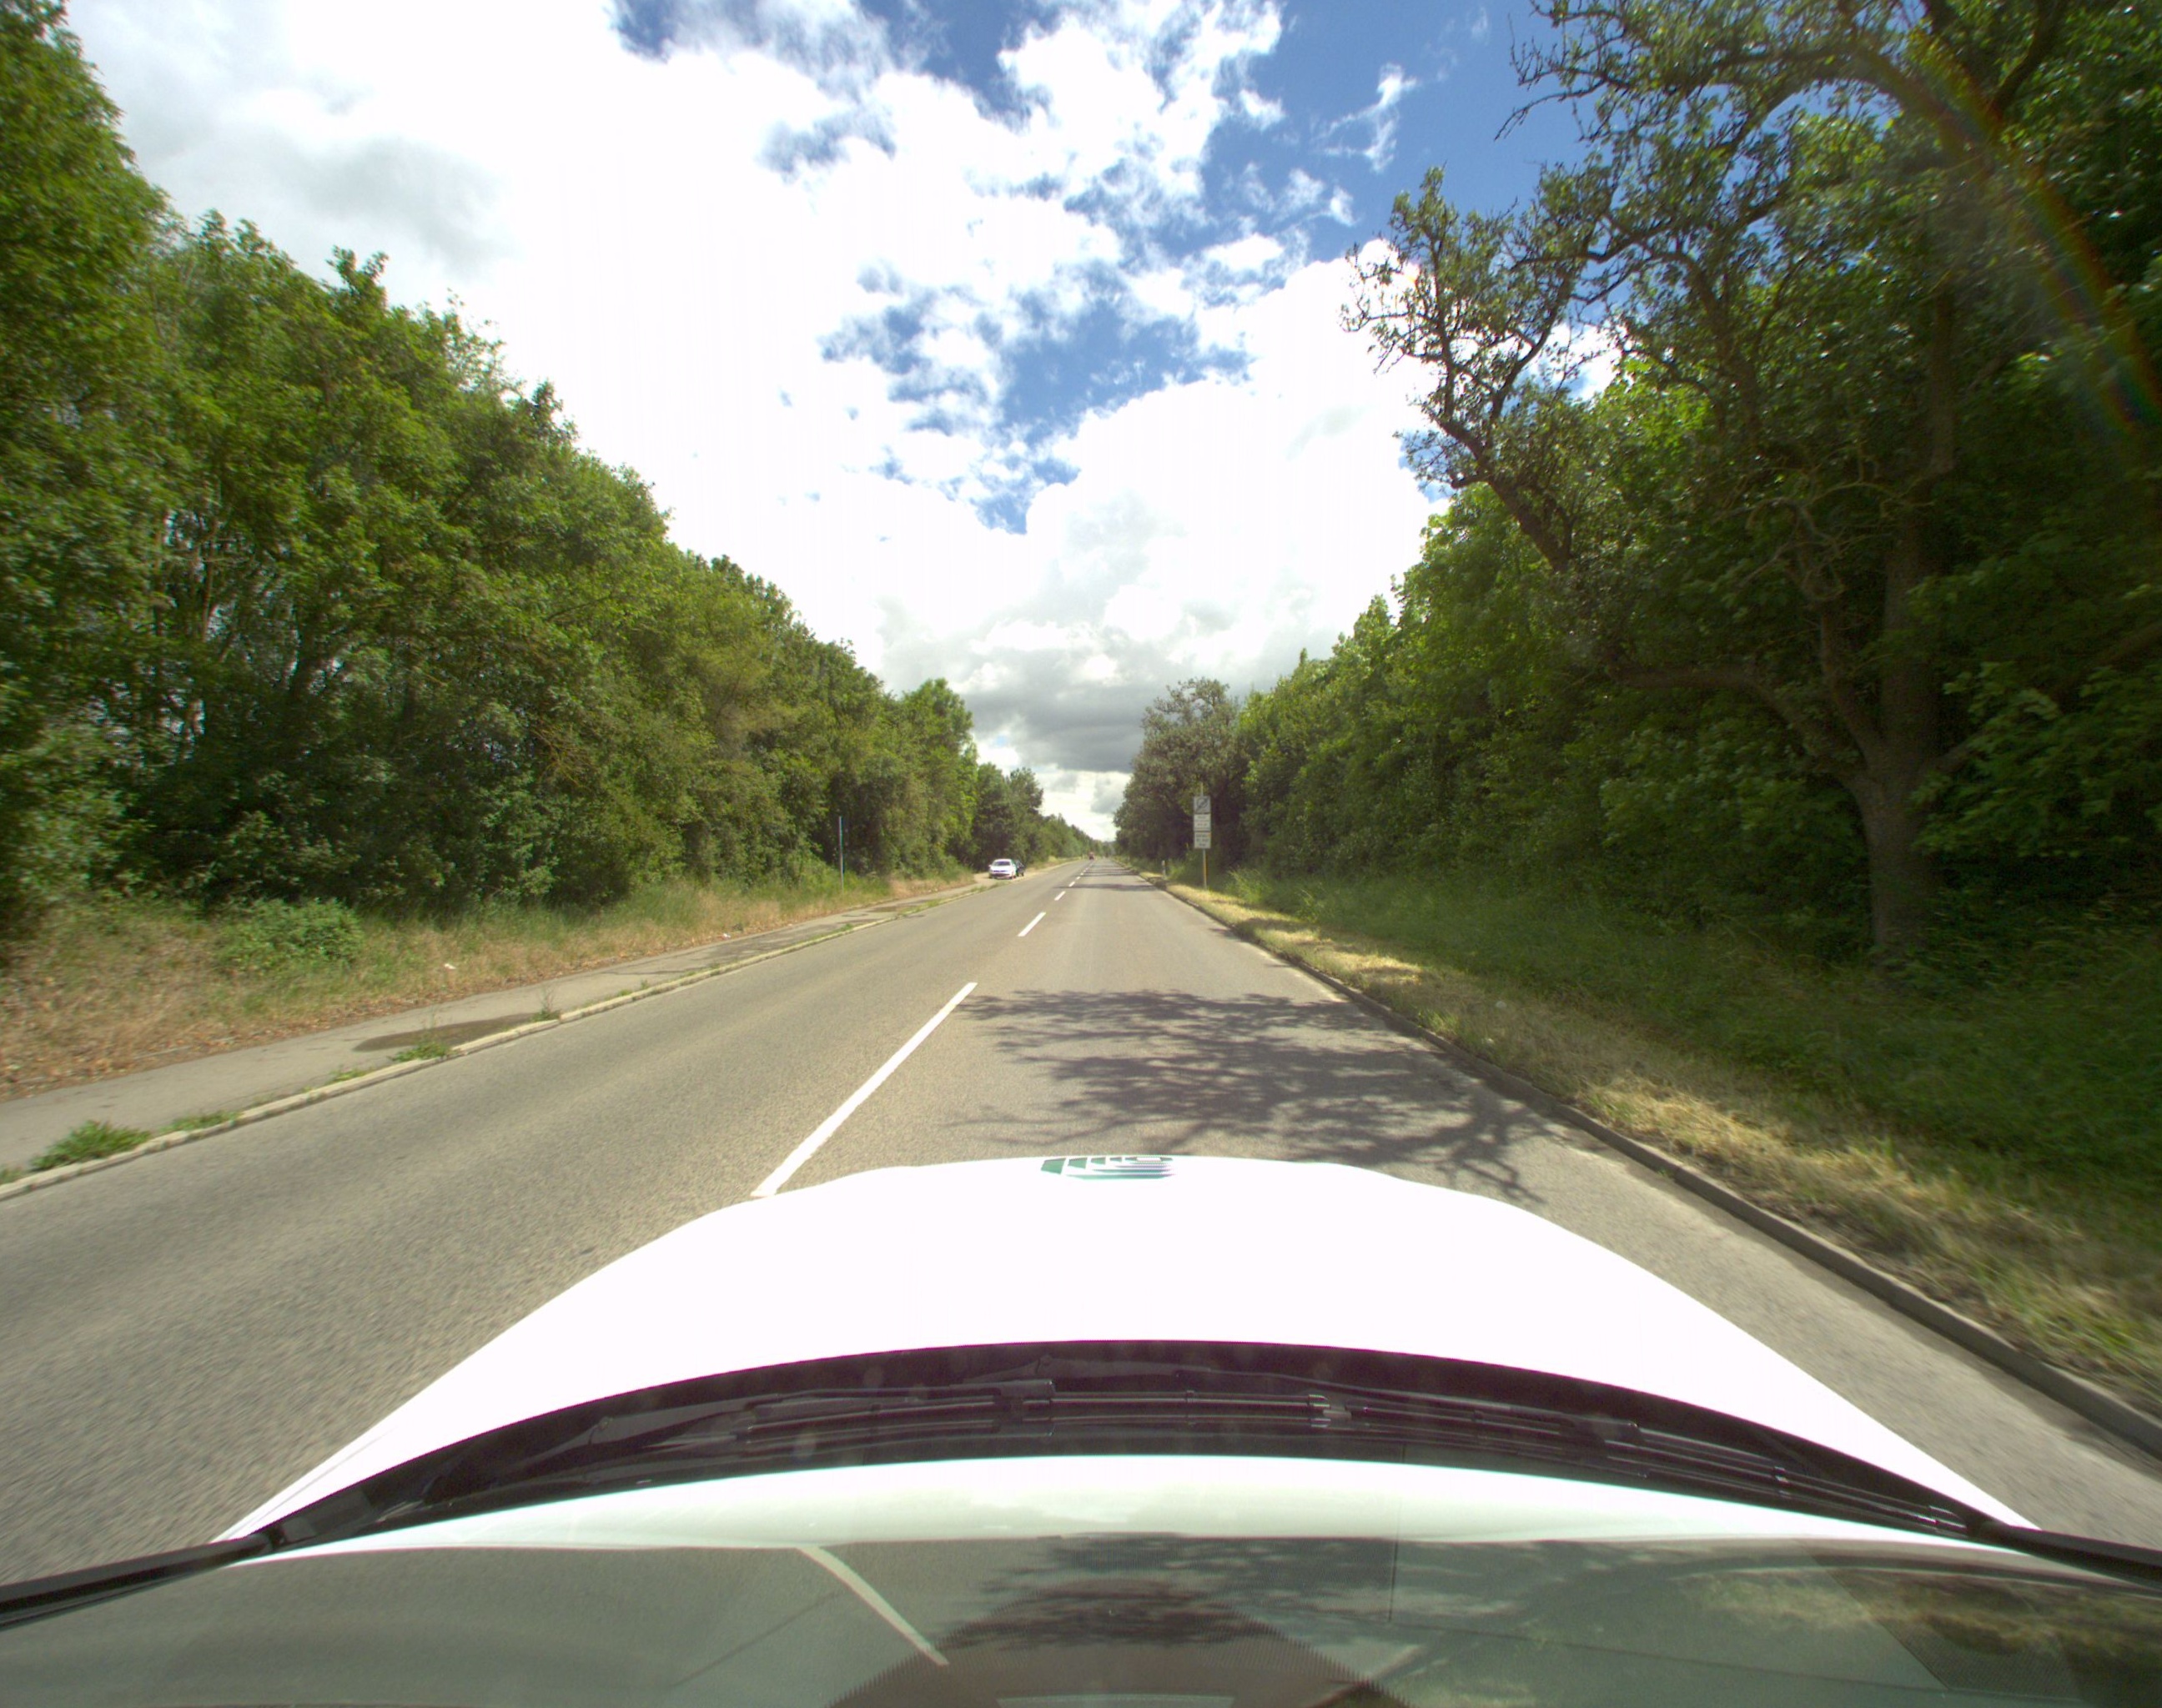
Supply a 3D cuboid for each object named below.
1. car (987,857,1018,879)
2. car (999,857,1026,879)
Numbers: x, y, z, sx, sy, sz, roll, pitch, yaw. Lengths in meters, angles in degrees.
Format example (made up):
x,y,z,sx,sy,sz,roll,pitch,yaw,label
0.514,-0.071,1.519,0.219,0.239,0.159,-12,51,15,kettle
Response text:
x,y,z,sx,sy,sz,roll,pitch,yaw,label
-5.888,1.029,61.409,1.791,1.543,3.955,-2,-1,1,car
-5.790,1.177,69.194,1.791,1.625,3.958,-2,1,3,car
